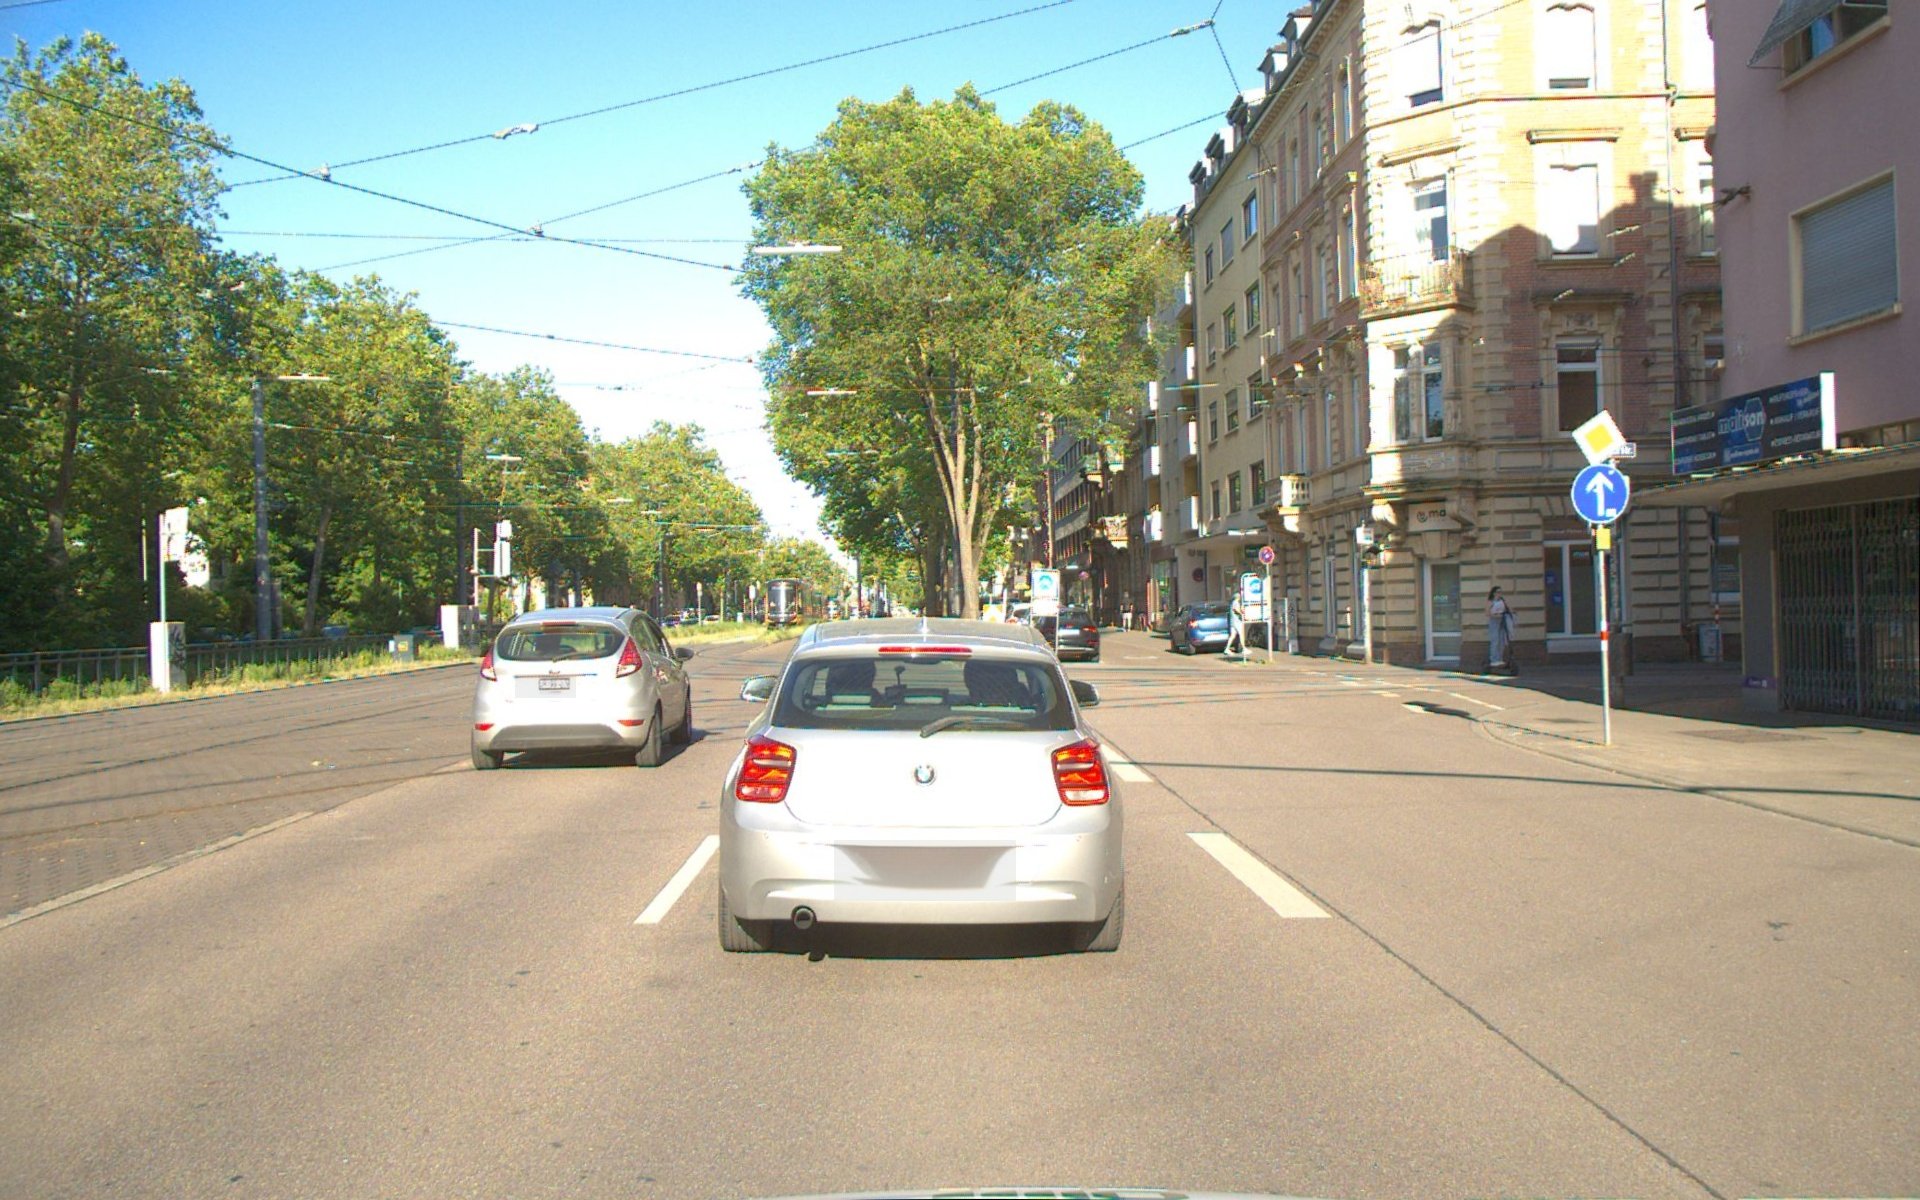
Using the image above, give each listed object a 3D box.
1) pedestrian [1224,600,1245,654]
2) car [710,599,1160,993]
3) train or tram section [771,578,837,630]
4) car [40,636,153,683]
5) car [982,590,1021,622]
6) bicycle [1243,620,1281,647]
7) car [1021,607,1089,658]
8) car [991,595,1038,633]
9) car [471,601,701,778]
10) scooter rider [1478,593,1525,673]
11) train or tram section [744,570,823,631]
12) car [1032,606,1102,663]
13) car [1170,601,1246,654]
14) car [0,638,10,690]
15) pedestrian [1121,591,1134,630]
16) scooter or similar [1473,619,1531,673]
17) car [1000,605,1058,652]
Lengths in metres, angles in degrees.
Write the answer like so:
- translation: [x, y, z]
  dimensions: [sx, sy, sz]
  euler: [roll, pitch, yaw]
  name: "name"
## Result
- translation: [8.051, 0.789, 48.457]
  dimensions: [0.545, 1.584, 0.389]
  euler: [-1, 0, 4]
  name: "pedestrian"
- translation: [-0.125, 0.754, 8.301]
  dimensions: [1.705, 1.493, 3.999]
  euler: [0, 0, -1]
  name: "car"
- translation: [-12.454, 0.321, 134.016]
  dimensions: [3.924, 3.933, 17.484]
  euler: [-1, 0, -1]
  name: "train or tram section"
- translation: [-30.515, 2.078, 58.600]
  dimensions: [1.897, 1.536, 4.276]
  euler: [-1, -1, -2]
  name: "car"
- translation: [1.993, 0.298, 81.137]
  dimensions: [1.690, 1.533, 3.553]
  euler: [0, 0, -2]
  name: "car"
- translation: [9.295, 1.014, 50.941]
  dimensions: [0.739, 0.784, 1.944]
  euler: [-1, 0, -2]
  name: "bicycle"
- translation: [2.817, 0.955, 49.719]
  dimensions: [1.709, 1.458, 3.553]
  euler: [0, 0, -2]
  name: "car"
- translation: [2.242, 0.571, 68.603]
  dimensions: [1.690, 1.533, 3.553]
  euler: [0, 0, -2]
  name: "car"
- translation: [-3.539, 0.777, 16.258]
  dimensions: [1.577, 1.493, 3.887]
  euler: [-1, 0, -4]
  name: "car"
- translation: [10.562, 0.639, 32.276]
  dimensions: [0.458, 1.531, 0.806]
  euler: [-1, 0, -20]
  name: "scooter rider"
- translation: [-12.222, 0.041, 116.655]
  dimensions: [3.888, 3.933, 17.484]
  euler: [-1, 0, -1]
  name: "train or tram section"
- translation: [2.839, 0.903, 44.585]
  dimensions: [1.700, 1.458, 3.678]
  euler: [0, 0, 1]
  name: "car"
- translation: [7.553, 0.815, 50.687]
  dimensions: [1.700, 1.546, 3.635]
  euler: [0, 0, -2]
  name: "car"
- translation: [-29.593, 1.896, 47.836]
  dimensions: [1.897, 1.536, 4.276]
  euler: [-1, -1, -2]
  name: "car"
- translation: [7.973, 0.500, 78.791]
  dimensions: [0.495, 1.833, 0.805]
  euler: [-1, 0, -1]
  name: "pedestrian"
- translation: [10.559, 0.885, 32.253]
  dimensions: [0.332, 1.005, 1.276]
  euler: [-1, 0, -21]
  name: "scooter or similar"
- translation: [2.300, 0.932, 55.836]
  dimensions: [1.690, 1.533, 3.553]
  euler: [0, 0, -2]
  name: "car"
